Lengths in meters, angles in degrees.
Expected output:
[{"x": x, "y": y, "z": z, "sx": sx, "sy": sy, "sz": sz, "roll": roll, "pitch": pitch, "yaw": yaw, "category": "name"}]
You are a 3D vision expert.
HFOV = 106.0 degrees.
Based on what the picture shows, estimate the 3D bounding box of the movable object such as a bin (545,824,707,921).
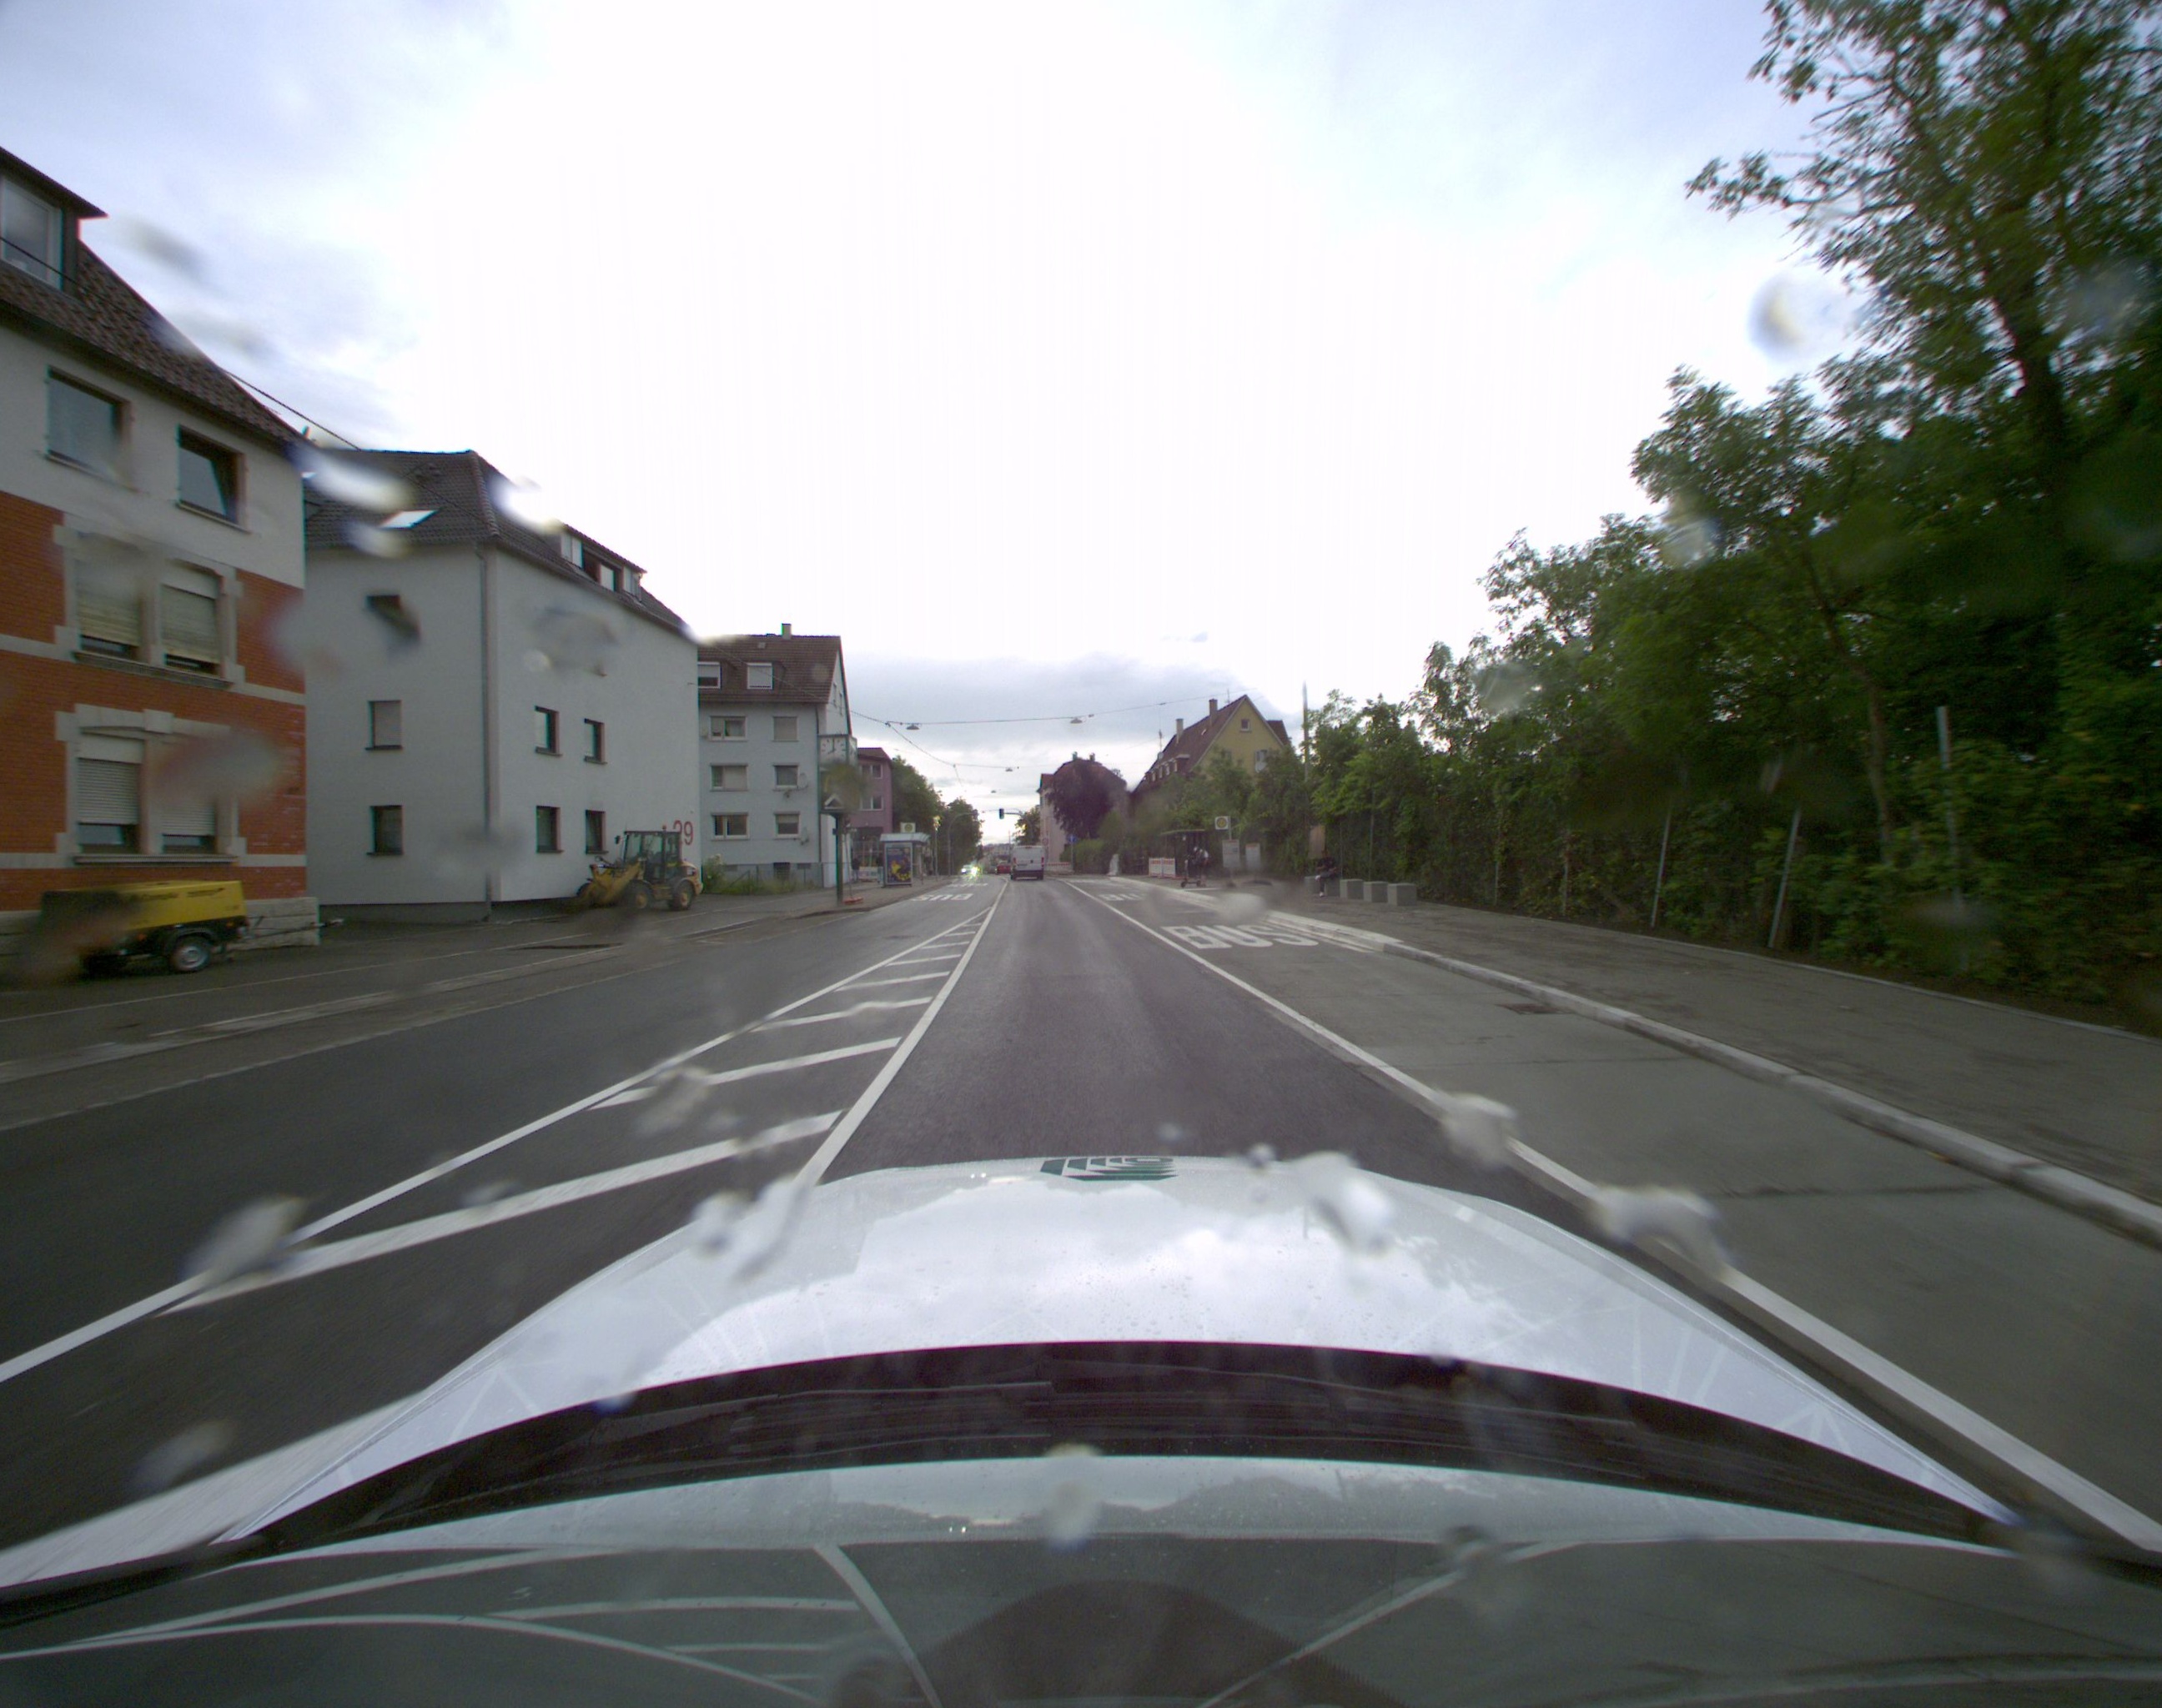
[{"x": -13.814, "y": 0.443, "z": 25.117, "sx": 1.983, "sy": 2.682, "sz": 4.637, "roll": 0, "pitch": 2, "yaw": 6, "category": "movable object such as a bin"}]

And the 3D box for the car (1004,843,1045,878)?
[{"x": -3.870, "y": 0.414, "z": 55.114, "sx": 2.238, "sy": 2.213, "sz": 4.697, "roll": -1, "pitch": 0, "yaw": -10, "category": "car"}]

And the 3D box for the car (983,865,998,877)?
[{"x": -14.366, "y": 2.731, "z": 128.946, "sx": 2.237, "sy": 1.804, "sz": 4.699, "roll": -1, "pitch": 0, "yaw": -9, "category": "car"}]

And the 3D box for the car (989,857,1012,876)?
[{"x": -8.489, "y": 1.277, "z": 85.565, "sx": 2.235, "sy": 1.656, "sz": 4.703, "roll": -1, "pitch": 2, "yaw": -7, "category": "car"}]

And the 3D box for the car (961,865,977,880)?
[{"x": -14.821, "y": 2.451, "z": 107.945, "sx": 1.993, "sy": 1.793, "sz": 3.988, "roll": -1, "pitch": 2, "yaw": -9, "category": "car"}]

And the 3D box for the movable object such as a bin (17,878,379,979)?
[{"x": -14.190, "y": 1.118, "z": 13.497, "sx": 1.548, "sy": 1.355, "sz": 4.001, "roll": 0, "pitch": -1, "yaw": 2, "category": "movable object such as a bin"}]

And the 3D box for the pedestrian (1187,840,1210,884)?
[{"x": 4.724, "y": 0.313, "z": 32.703, "sx": 0.901, "sy": 1.731, "sz": 0.655, "roll": 0, "pitch": 2, "yaw": 7, "category": "pedestrian"}]

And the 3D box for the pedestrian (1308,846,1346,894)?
[{"x": 7.196, "y": 0.459, "z": 23.870, "sx": 0.874, "sy": 1.367, "sz": 1.068, "roll": 0, "pitch": 2, "yaw": 7, "category": "pedestrian"}]

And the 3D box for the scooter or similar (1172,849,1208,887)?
[{"x": 4.387, "y": 0.536, "z": 32.692, "sx": 1.564, "sy": 1.405, "sz": 0.492, "roll": -4, "pitch": 4, "yaw": -40, "category": "scooter or similar"}]

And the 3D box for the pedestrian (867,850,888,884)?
[{"x": -12.623, "y": 0.809, "z": 50.644, "sx": 1.207, "sy": 2.013, "sz": 1.048, "roll": -1, "pitch": 2, "yaw": -13, "category": "pedestrian"}]

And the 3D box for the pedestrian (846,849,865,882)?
[{"x": -14.314, "y": 0.716, "z": 51.804, "sx": 1.080, "sy": 2.013, "sz": 1.048, "roll": -1, "pitch": 2, "yaw": -12, "category": "pedestrian"}]
